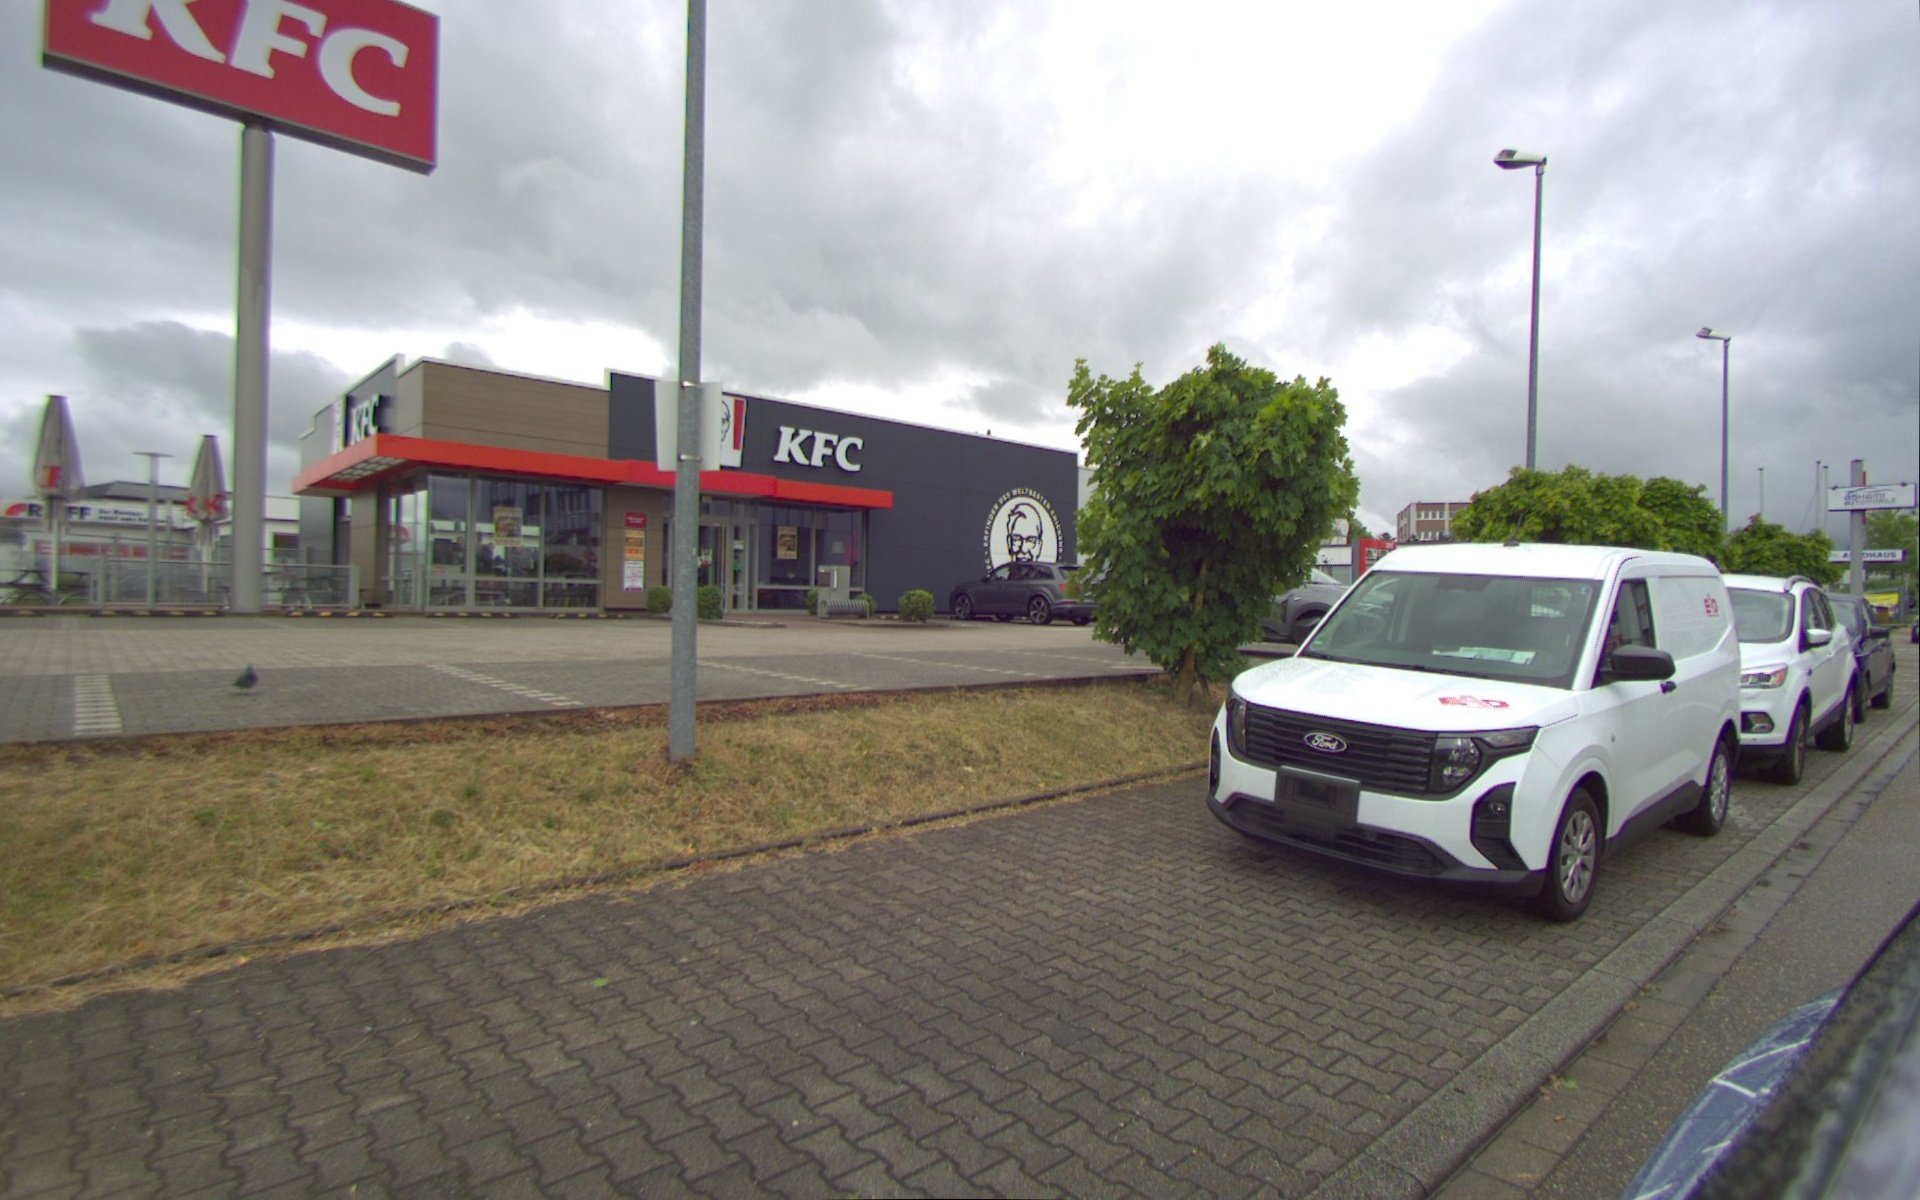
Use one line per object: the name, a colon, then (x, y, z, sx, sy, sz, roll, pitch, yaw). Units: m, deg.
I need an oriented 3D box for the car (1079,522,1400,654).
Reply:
car: (4.195, -0.200, 15.709, 4.489, 1.762, 1.862, 1, 1, 45)

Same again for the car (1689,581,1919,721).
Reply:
car: (11.490, 0.555, 13.659, 3.930, 1.618, 1.821, -1, 1, -41)

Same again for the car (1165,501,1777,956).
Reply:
car: (3.263, 0.449, 6.061, 4.175, 1.805, 1.796, -1, 3, -41)

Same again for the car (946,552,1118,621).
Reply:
car: (1.904, -0.390, 28.129, 4.729, 1.762, 1.862, 1, 1, 45)

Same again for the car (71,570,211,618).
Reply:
car: (-30.746, -0.240, 38.044, 3.934, 1.701, 1.952, 0, 1, -44)

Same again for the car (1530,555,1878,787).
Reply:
car: (7.099, 0.499, 9.516, 3.930, 1.730, 1.821, -1, 1, -41)
